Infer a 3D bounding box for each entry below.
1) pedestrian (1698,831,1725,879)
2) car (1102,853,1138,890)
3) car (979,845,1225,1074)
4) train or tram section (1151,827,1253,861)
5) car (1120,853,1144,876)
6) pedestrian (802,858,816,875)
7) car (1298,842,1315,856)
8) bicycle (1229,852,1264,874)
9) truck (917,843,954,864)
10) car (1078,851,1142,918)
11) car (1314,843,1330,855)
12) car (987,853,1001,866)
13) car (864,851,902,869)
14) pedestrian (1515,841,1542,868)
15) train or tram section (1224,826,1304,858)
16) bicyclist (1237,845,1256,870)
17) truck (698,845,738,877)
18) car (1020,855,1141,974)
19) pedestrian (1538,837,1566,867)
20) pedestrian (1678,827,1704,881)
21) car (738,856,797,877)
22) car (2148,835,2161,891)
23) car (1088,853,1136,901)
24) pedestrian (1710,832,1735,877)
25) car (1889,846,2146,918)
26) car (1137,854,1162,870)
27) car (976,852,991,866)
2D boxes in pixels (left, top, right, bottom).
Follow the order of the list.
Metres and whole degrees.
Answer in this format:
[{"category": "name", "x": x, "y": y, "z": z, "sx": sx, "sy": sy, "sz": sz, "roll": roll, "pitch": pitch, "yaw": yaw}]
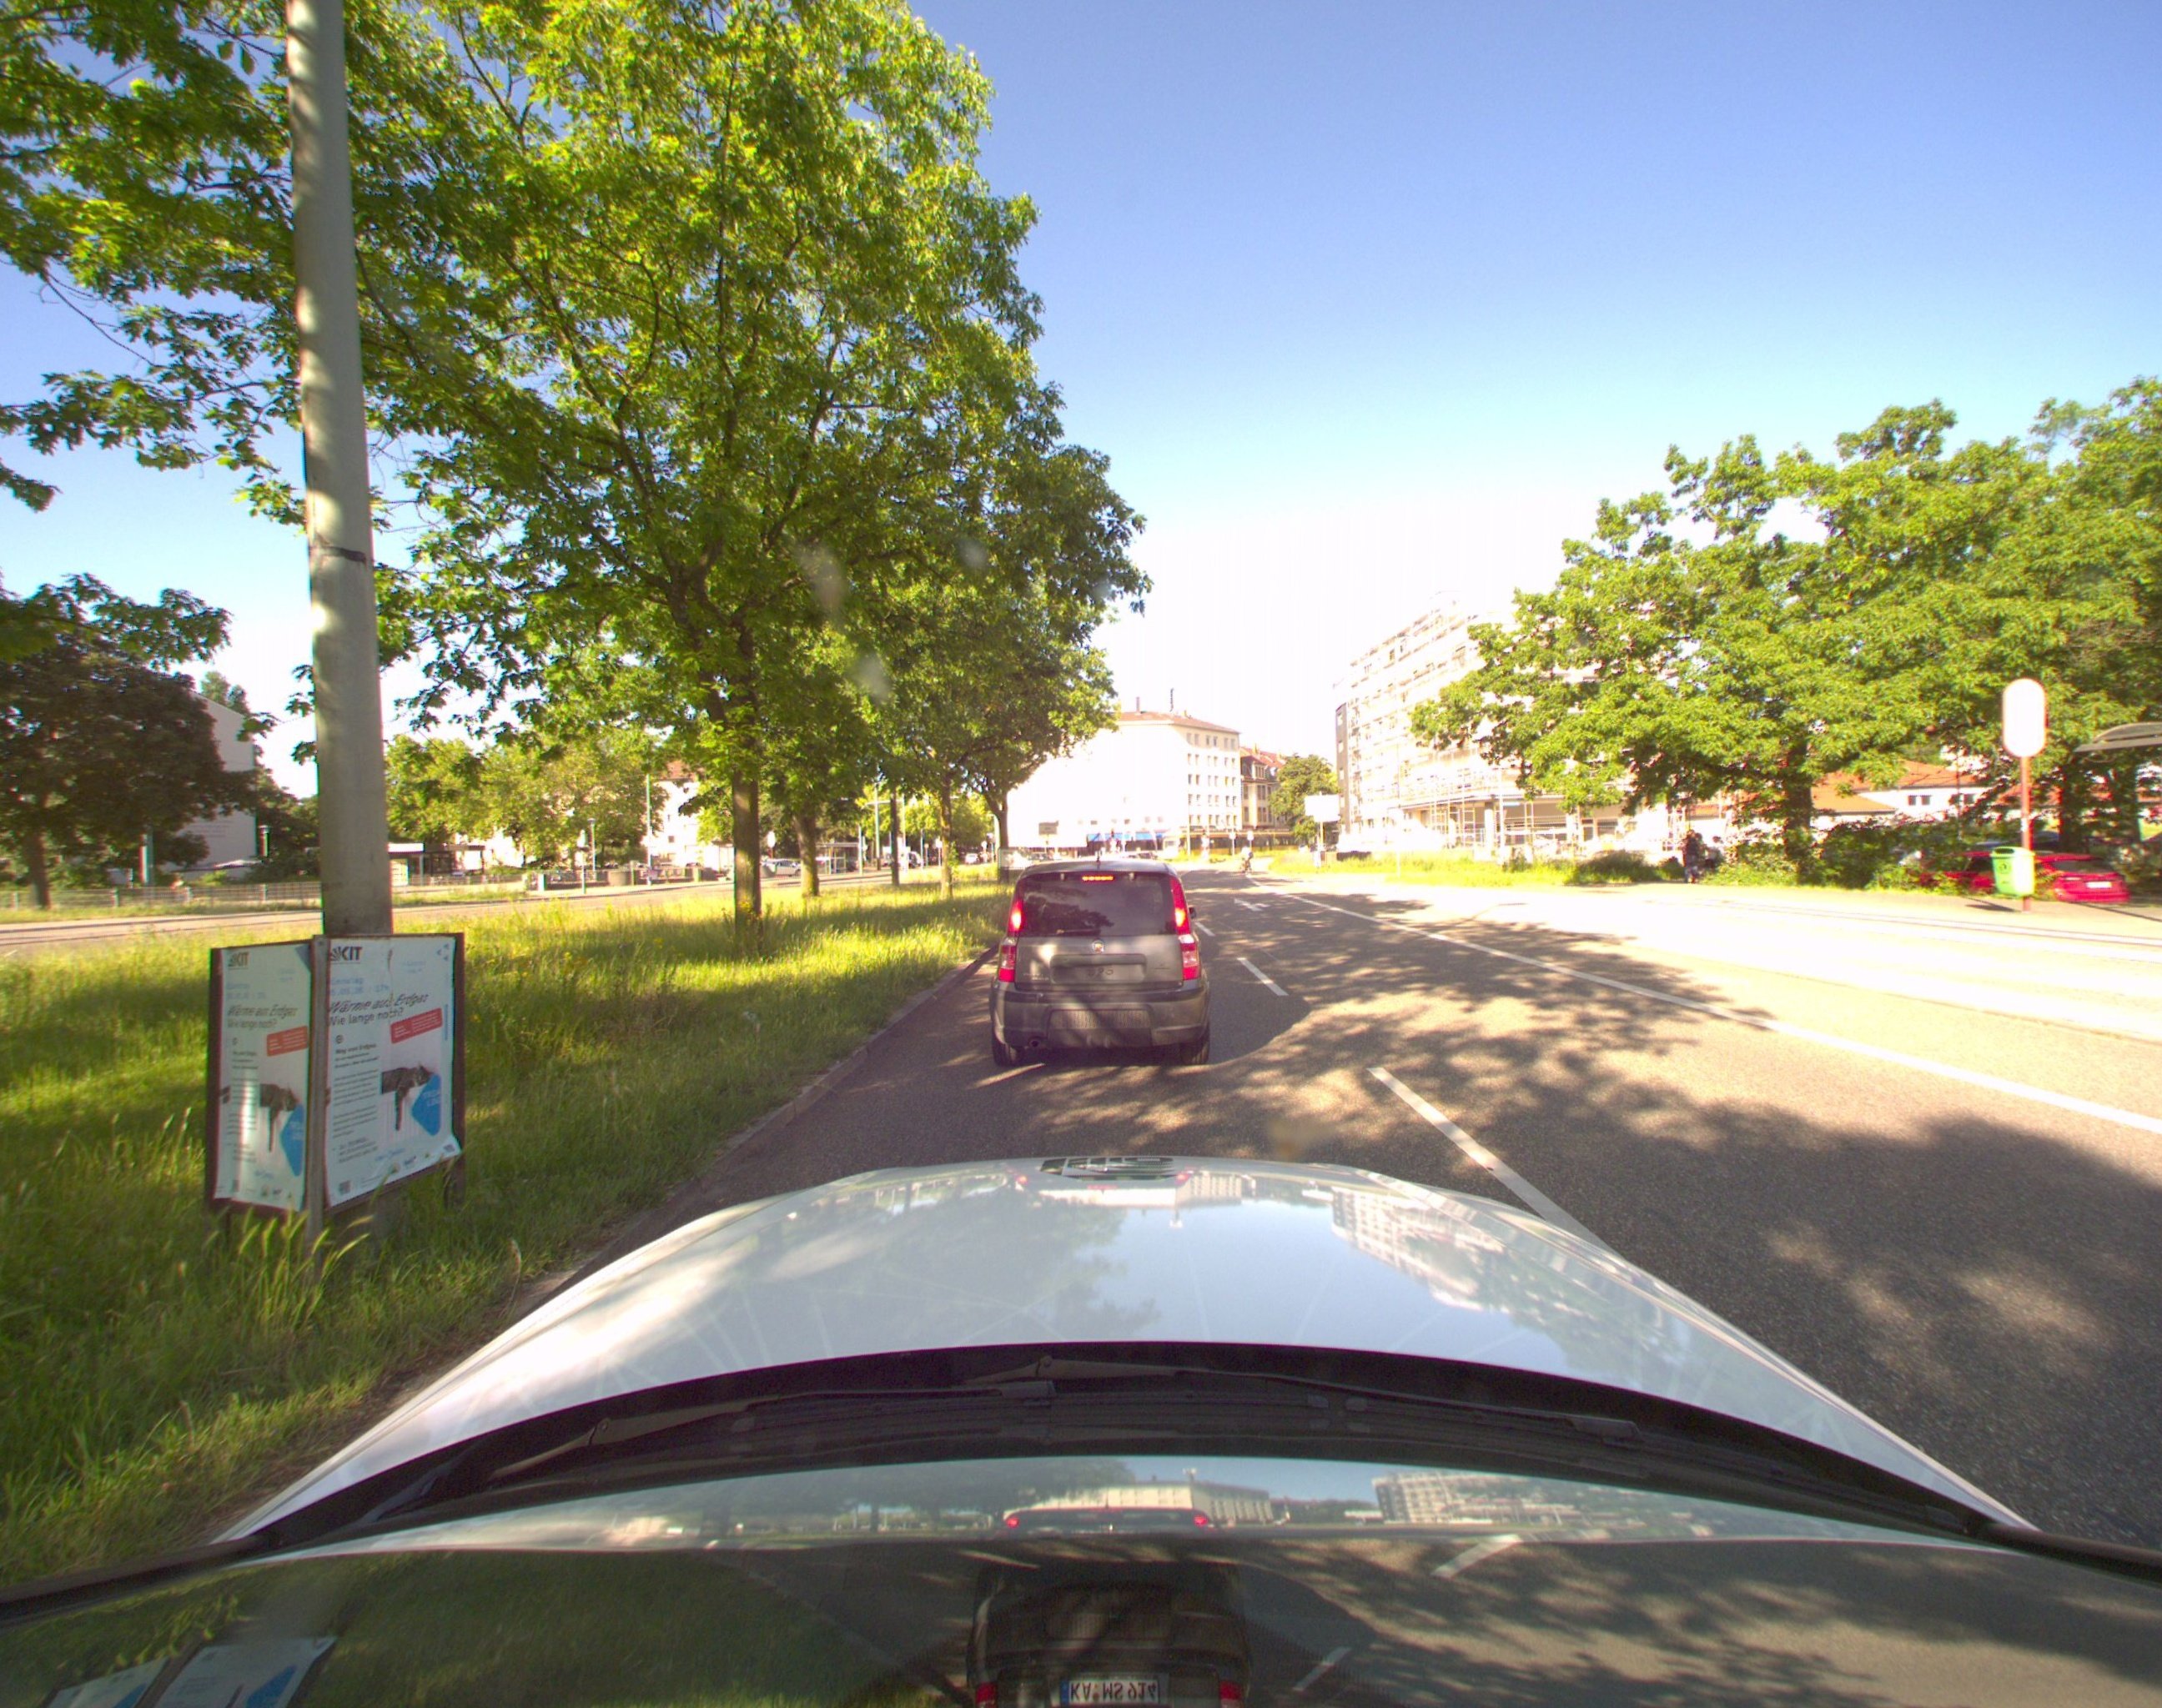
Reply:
[{"category": "pedestrian", "x": 19.194, "y": 0.020, "z": 24.794, "sx": 0.516, "sy": 1.447, "sz": 0.595, "roll": -2, "pitch": 0, "yaw": 28}, {"category": "car", "x": 1.603, "y": 0.693, "z": 33.971, "sx": 1.351, "sy": 1.449, "sz": 3.267, "roll": -2, "pitch": 0, "yaw": 2}, {"category": "car", "x": 0.205, "y": 0.704, "z": 7.539, "sx": 1.622, "sy": 1.508, "sz": 4.002, "roll": -2, "pitch": 0, "yaw": 2}, {"category": "train or tram section", "x": 14.090, "y": -1.222, "z": 92.107, "sx": 3.263, "sy": 3.513, "sz": 19.509, "roll": -2, "pitch": 0, "yaw": 34}, {"category": "car", "x": 3.098, "y": 0.606, "z": 49.681, "sx": 1.351, "sy": 1.281, "sz": 2.877, "roll": -2, "pitch": 0, "yaw": 2}, {"category": "pedestrian", "x": -26.210, "y": 1.246, "z": 78.465, "sx": 0.910, "sy": 1.607, "sz": 0.802, "roll": -2, "pitch": 0, "yaw": 41}, {"category": "car", "x": 24.919, "y": -0.541, "z": 90.000, "sx": 1.669, "sy": 1.449, "sz": 3.588, "roll": -2, "pitch": 0, "yaw": 18}, {"category": "bicycle", "x": 9.662, "y": 0.525, "z": 47.635, "sx": 0.711, "sy": 1.198, "sz": 2.502, "roll": 0, "pitch": -1, "yaw": -21}, {"category": "truck", "x": -23.002, "y": -0.140, "z": 128.576, "sx": 5.425, "sy": 3.168, "sz": 2.358, "roll": -2, "pitch": 0, "yaw": 30}, {"category": "car", "x": 0.727, "y": 0.699, "z": 20.798, "sx": 1.458, "sy": 1.508, "sz": 3.506, "roll": -2, "pitch": 0, "yaw": 2}, {"category": "car", "x": 27.745, "y": -0.539, "z": 93.562, "sx": 1.514, "sy": 1.314, "sz": 3.304, "roll": -2, "pitch": 0, "yaw": 20}, {"category": "car", "x": -14.255, "y": 0.895, "z": 133.875, "sx": 1.988, "sy": 2.013, "sz": 3.997, "roll": -2, "pitch": 0, "yaw": -2}, {"category": "car", "x": -23.994, "y": 0.722, "z": 98.754, "sx": 4.164, "sy": 2.013, "sz": 1.931, "roll": -2, "pitch": 0, "yaw": -1}, {"category": "pedestrian", "x": 24.890, "y": 0.027, "z": 45.321, "sx": 0.893, "sy": 1.447, "sz": 0.962, "roll": -2, "pitch": 0, "yaw": -13}, {"category": "train or tram section", "x": 24.667, "y": -1.683, "z": 108.169, "sx": 3.263, "sy": 3.770, "sz": 20.943, "roll": -2, "pitch": 0, "yaw": 33}, {"category": "bicyclist", "x": 9.681, "y": 0.223, "z": 47.520, "sx": 0.744, "sy": 1.438, "sz": 0.839, "roll": 0, "pitch": -1, "yaw": -23}, {"category": "truck", "x": -33.072, "y": 0.636, "z": 74.209, "sx": 2.012, "sy": 2.805, "sz": 3.951, "roll": -2, "pitch": 0, "yaw": -44}, {"category": "car", "x": 0.050, "y": 0.749, "z": 11.767, "sx": 1.458, "sy": 1.401, "sz": 3.395, "roll": -2, "pitch": 0, "yaw": 2}, {"category": "pedestrian", "x": 26.171, "y": -0.113, "z": 45.295, "sx": 0.893, "sy": 1.653, "sz": 0.980, "roll": -2, "pitch": 0, "yaw": -24}, {"category": "pedestrian", "x": 18.519, "y": 0.012, "z": 24.738, "sx": 0.516, "sy": 1.612, "sz": 0.595, "roll": -2, "pitch": 0, "yaw": 28}, {"category": "car", "x": -27.315, "y": 1.073, "z": 71.072, "sx": 1.974, "sy": 1.684, "sz": 4.348, "roll": -2, "pitch": 0, "yaw": 40}, {"category": "car", "x": 29.862, "y": 0.210, "z": 20.181, "sx": 1.911, "sy": 1.486, "sz": 3.725, "roll": -2, "pitch": 0, "yaw": -17}, {"category": "car", "x": 1.030, "y": 0.728, "z": 27.370, "sx": 1.458, "sy": 1.424, "sz": 3.383, "roll": -2, "pitch": 1, "yaw": 2}, {"category": "pedestrian", "x": 20.899, "y": 0.013, "z": 26.551, "sx": 0.516, "sy": 1.447, "sz": 0.595, "roll": -2, "pitch": 0, "yaw": 28}, {"category": "car", "x": 21.988, "y": 0.596, "z": 19.378, "sx": 1.747, "sy": 1.486, "sz": 3.743, "roll": -2, "pitch": 0, "yaw": -2}, {"category": "car", "x": 4.868, "y": 0.575, "z": 57.720, "sx": 1.133, "sy": 1.064, "sz": 2.735, "roll": -2, "pitch": 0, "yaw": 19}, {"category": "car", "x": -14.835, "y": 0.733, "z": 124.165, "sx": 1.988, "sy": 2.013, "sz": 3.997, "roll": -2, "pitch": 0, "yaw": -2}]
